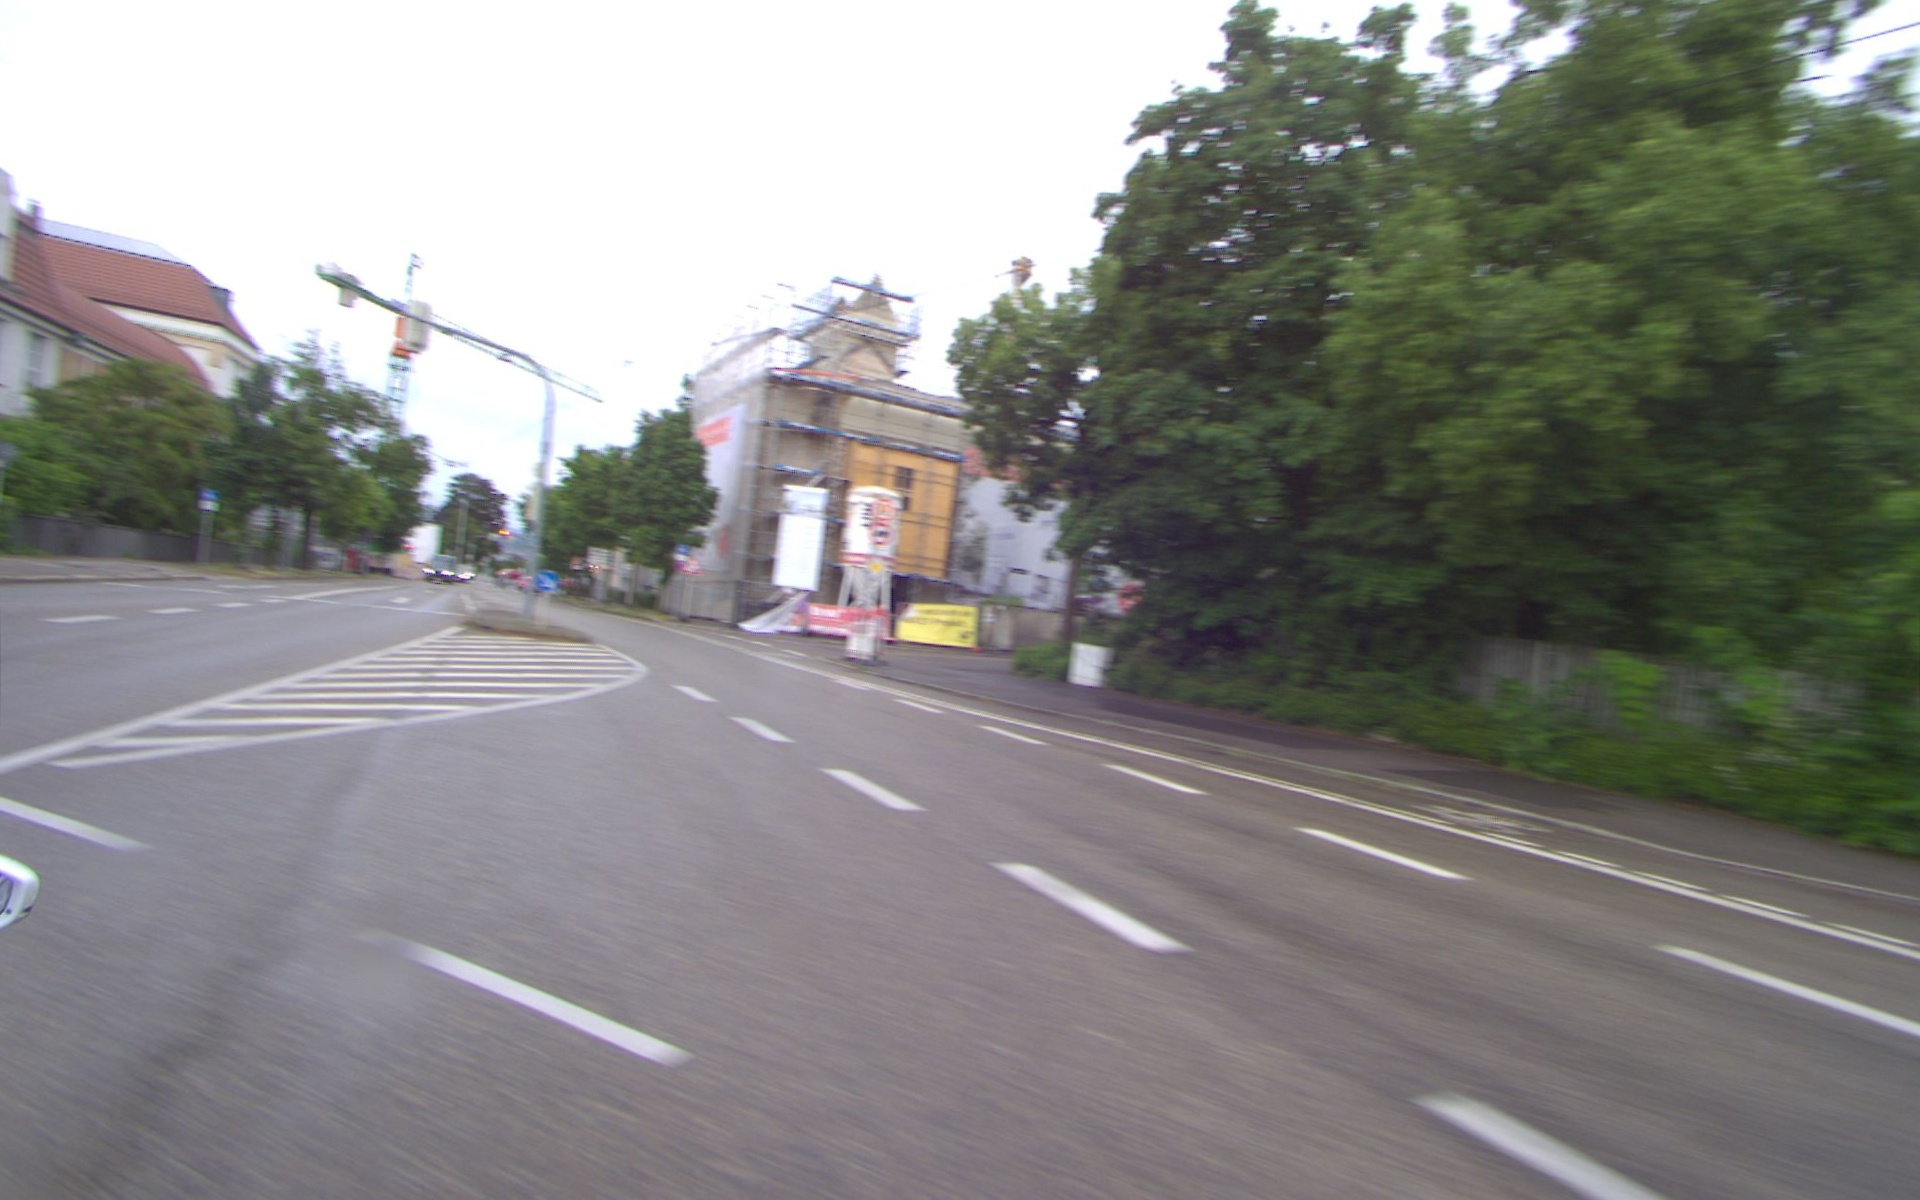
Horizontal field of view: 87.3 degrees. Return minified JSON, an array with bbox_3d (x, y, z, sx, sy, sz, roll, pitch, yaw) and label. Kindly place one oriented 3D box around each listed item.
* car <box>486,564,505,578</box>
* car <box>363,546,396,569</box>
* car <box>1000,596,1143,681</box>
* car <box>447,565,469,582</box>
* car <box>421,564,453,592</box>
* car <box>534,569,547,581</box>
[{"bbox_3d":[-62.108,-3.837,134.576,1.757,1.598,3.853,8,0,-20],"label":"car"},{"bbox_3d":[-57.662,-4.210,100.007,1.973,2.038,3.981,8,0,-20],"label":"car"},{"bbox_3d":[3.489,1.172,31.228,3.924,2.039,2.000,7,1,17],"label":"car"},{"bbox_3d":[-52.920,-2.810,106.146,1.559,1.478,3.520,8,0,-20],"label":"car"},{"bbox_3d":[-47.082,-1.983,90.684,1.815,2.238,3.981,8,0,-20],"label":"car"},{"bbox_3d":[-82.250,-4.840,197.281,1.975,2.038,3.978,8,-1,-23],"label":"car"}]
